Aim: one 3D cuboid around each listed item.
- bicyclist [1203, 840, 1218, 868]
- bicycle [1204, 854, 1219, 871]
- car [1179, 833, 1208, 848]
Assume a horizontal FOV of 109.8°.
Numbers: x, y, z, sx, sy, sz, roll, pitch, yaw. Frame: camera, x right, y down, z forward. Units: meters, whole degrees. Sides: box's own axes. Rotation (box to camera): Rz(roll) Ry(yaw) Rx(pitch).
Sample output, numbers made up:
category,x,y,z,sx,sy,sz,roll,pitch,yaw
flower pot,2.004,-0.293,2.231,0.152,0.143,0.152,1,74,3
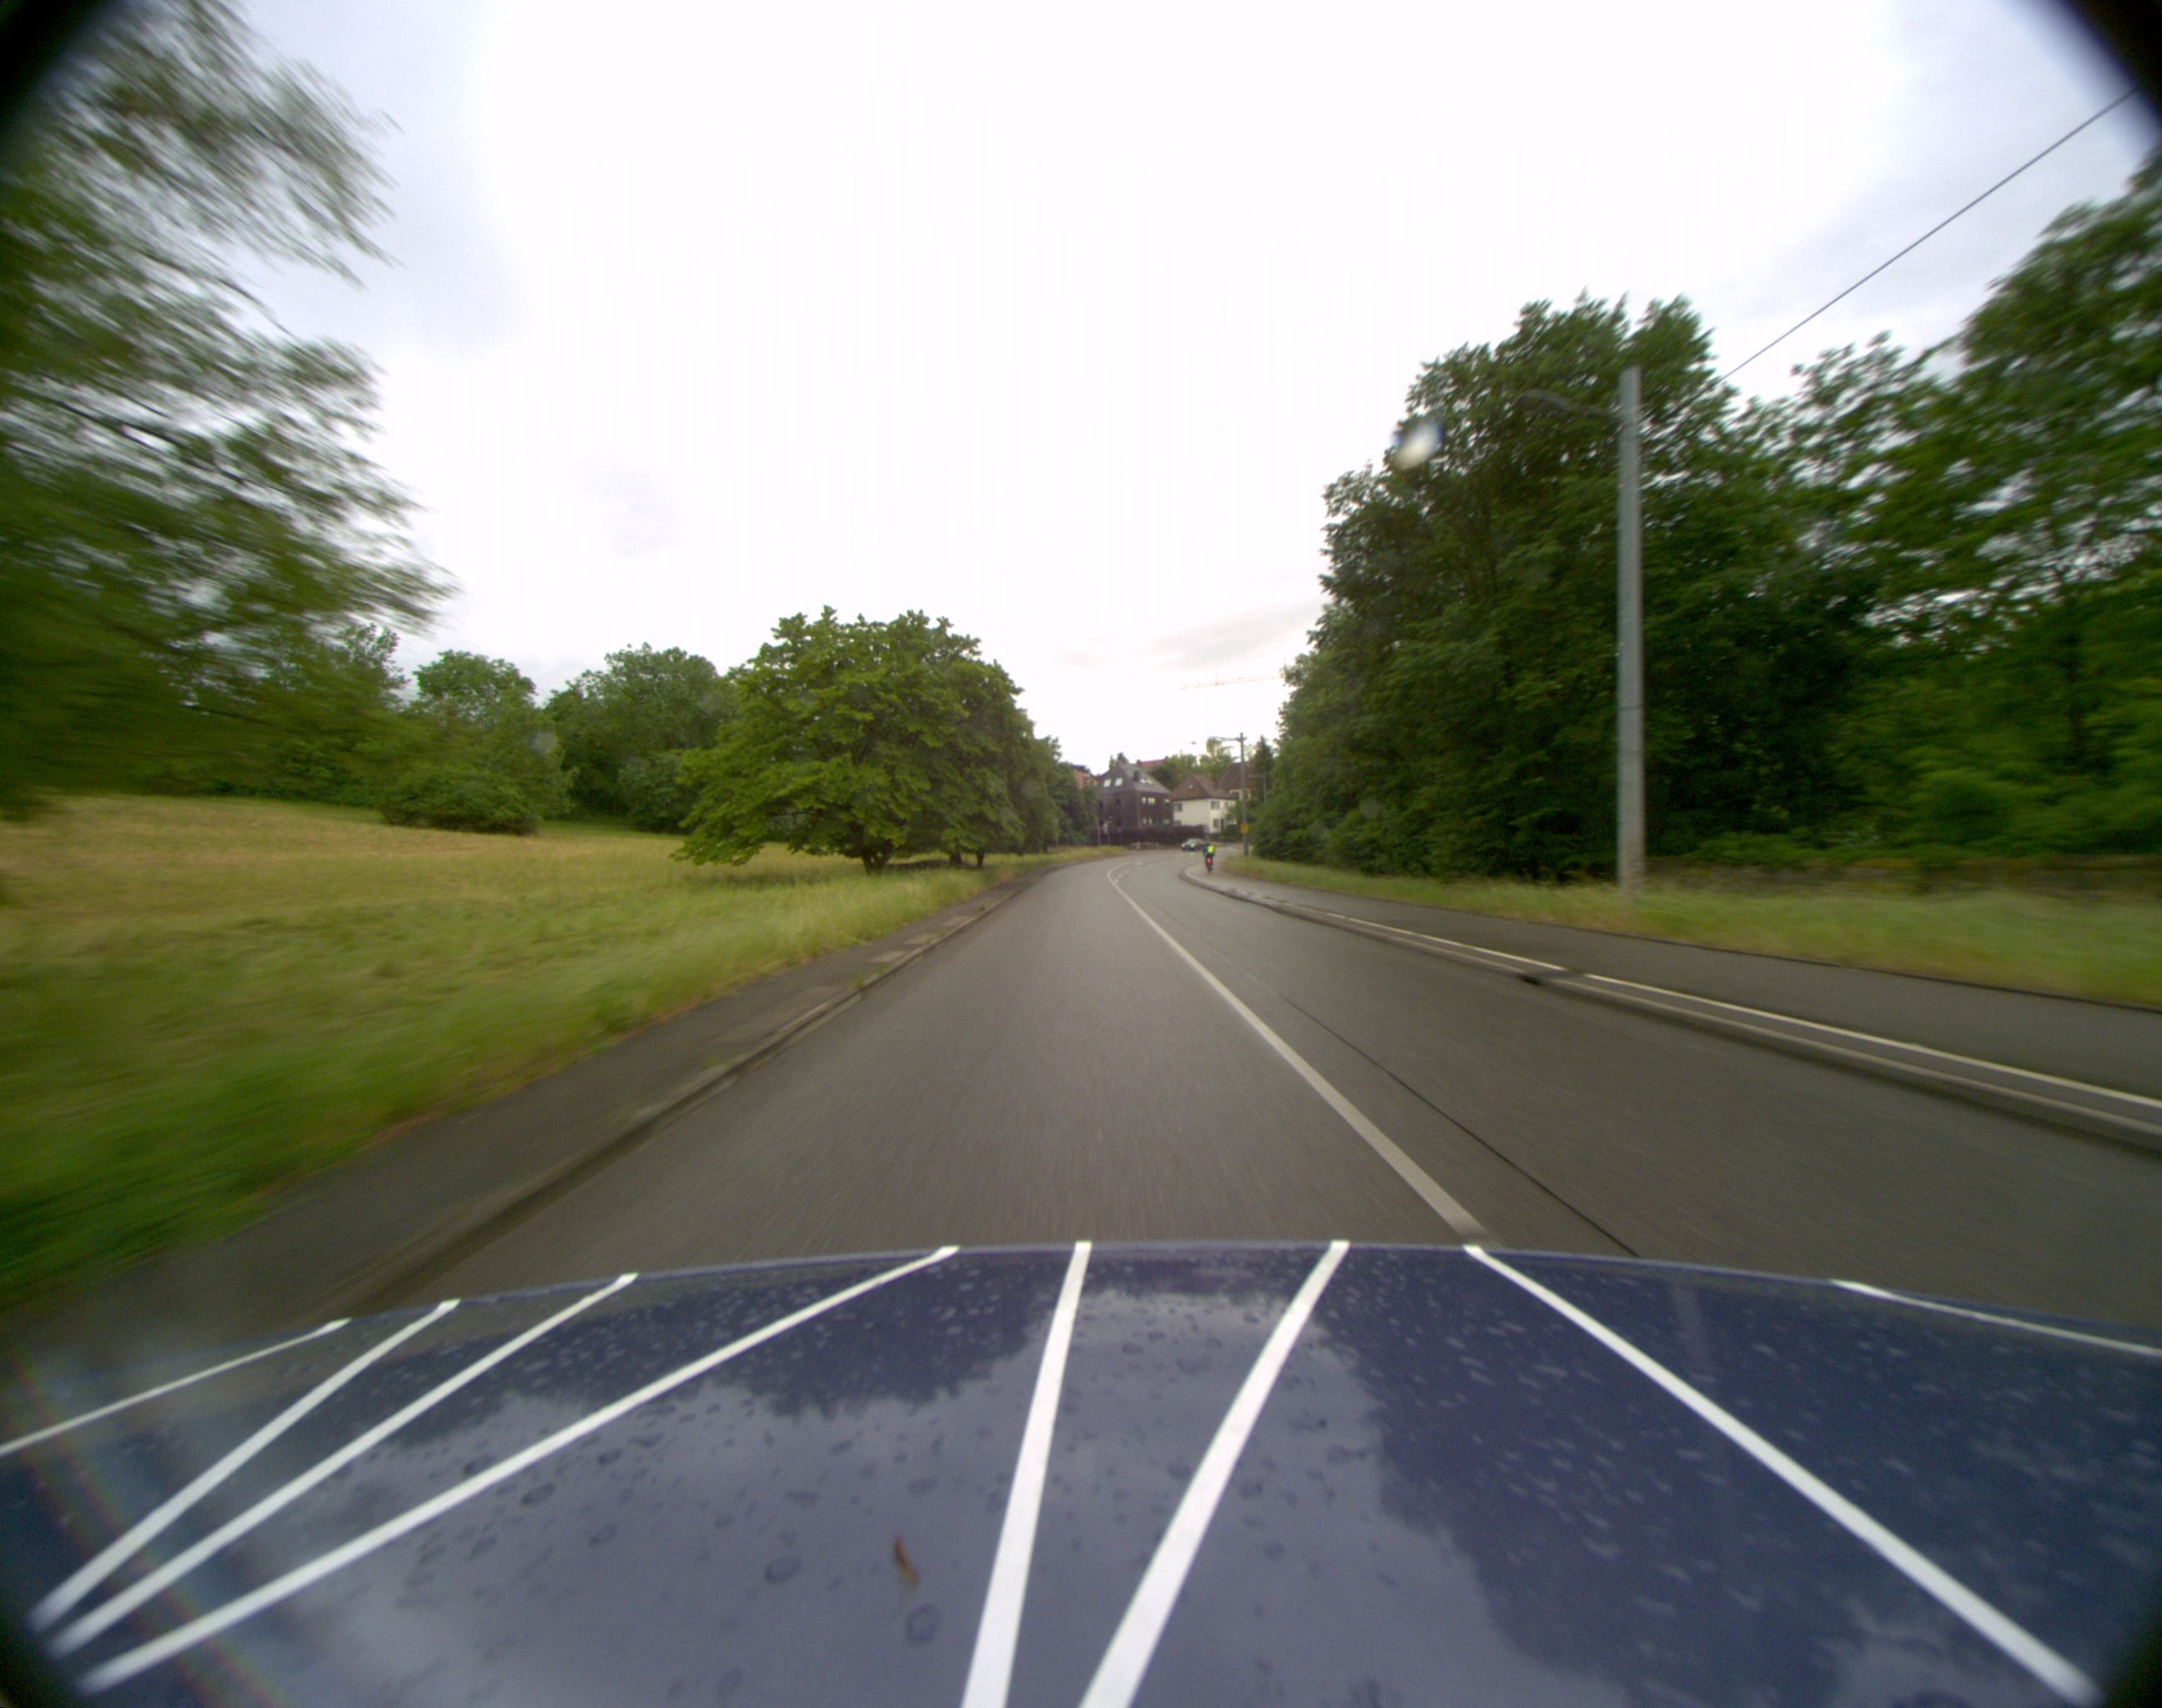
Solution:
category,x,y,z,sx,sy,sz,roll,pitch,yaw
bicyclist,7.660,-0.014,44.922,0.709,1.547,1.171,-4,1,11
bicycle,7.695,0.482,44.873,0.725,0.936,2.551,-4,0,8
car,14.006,-1.671,94.509,1.994,1.707,4.006,-1,3,33
